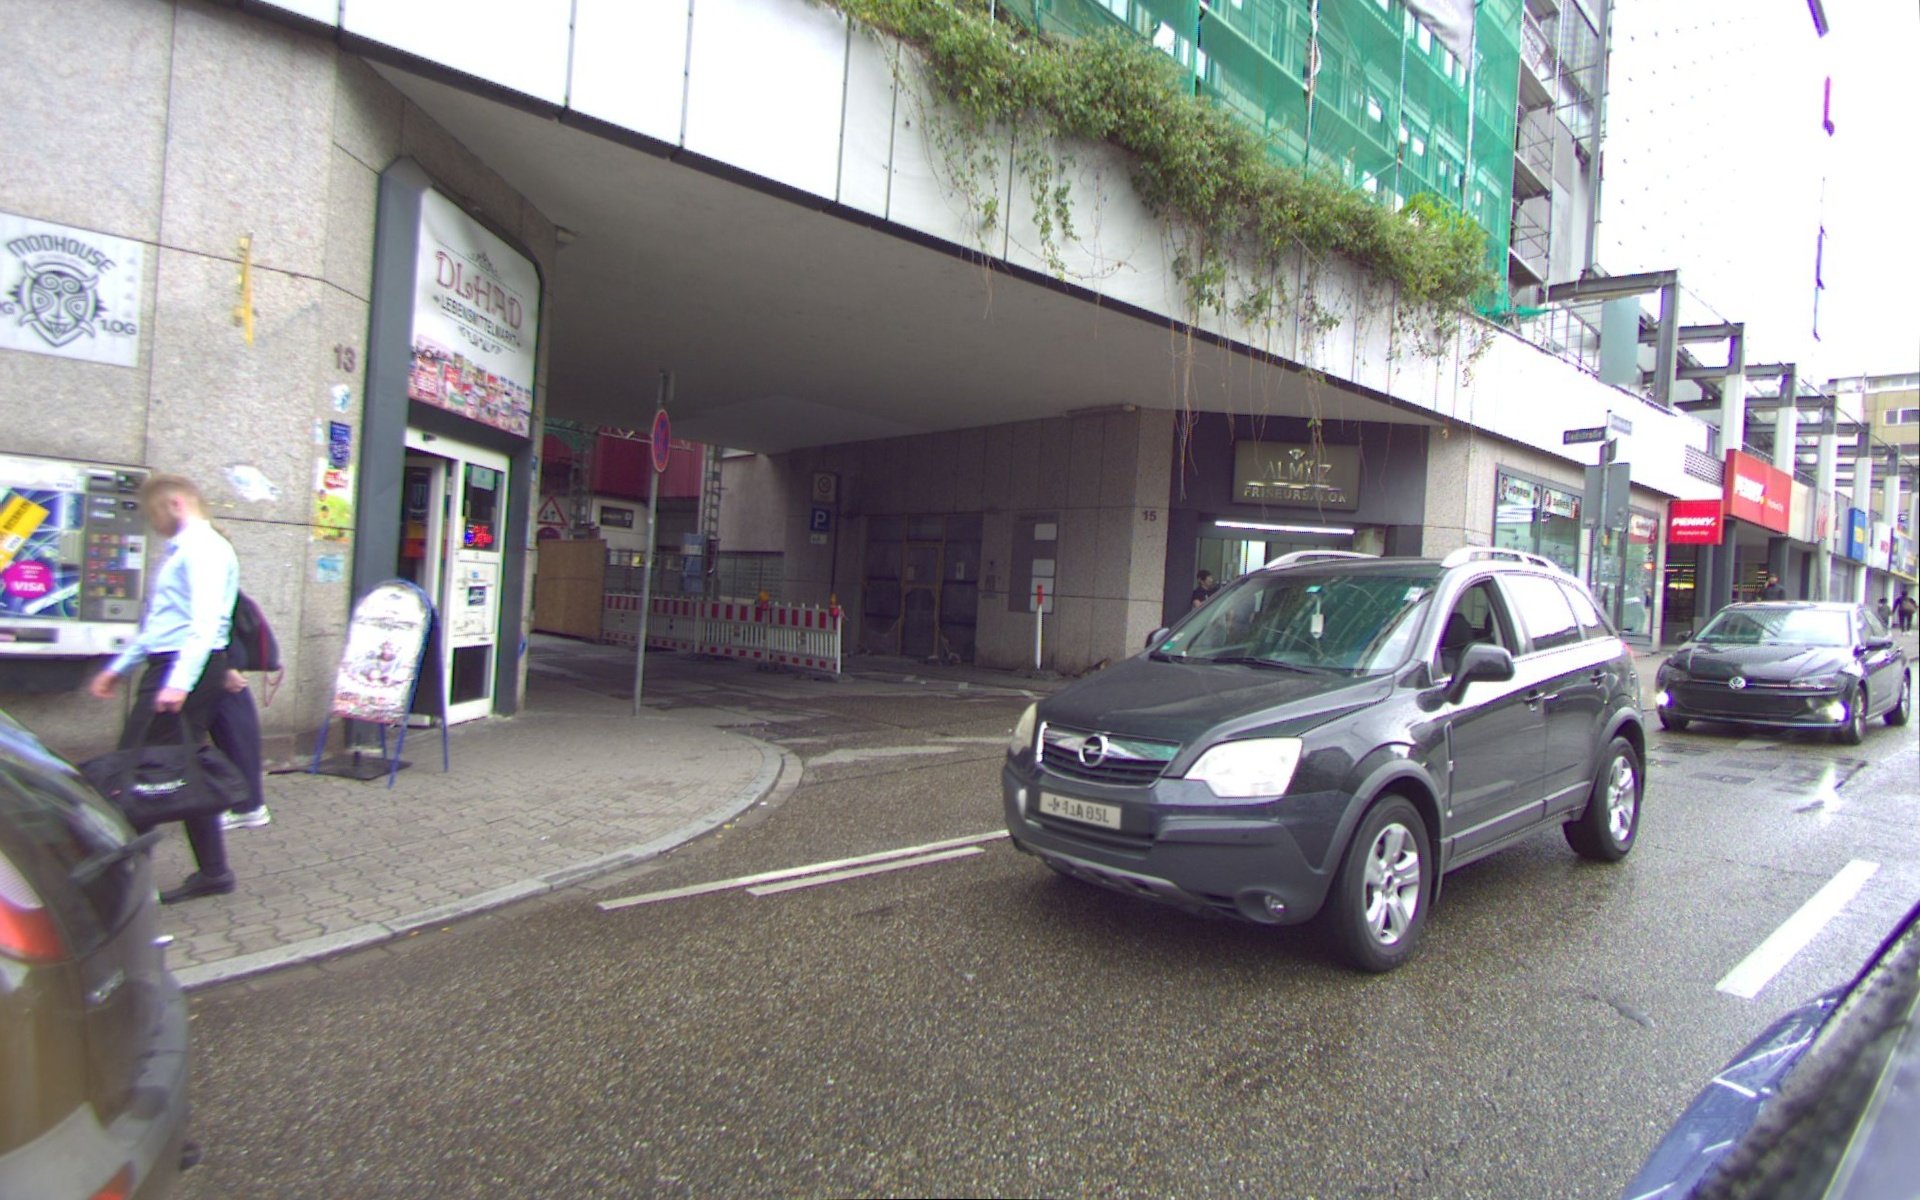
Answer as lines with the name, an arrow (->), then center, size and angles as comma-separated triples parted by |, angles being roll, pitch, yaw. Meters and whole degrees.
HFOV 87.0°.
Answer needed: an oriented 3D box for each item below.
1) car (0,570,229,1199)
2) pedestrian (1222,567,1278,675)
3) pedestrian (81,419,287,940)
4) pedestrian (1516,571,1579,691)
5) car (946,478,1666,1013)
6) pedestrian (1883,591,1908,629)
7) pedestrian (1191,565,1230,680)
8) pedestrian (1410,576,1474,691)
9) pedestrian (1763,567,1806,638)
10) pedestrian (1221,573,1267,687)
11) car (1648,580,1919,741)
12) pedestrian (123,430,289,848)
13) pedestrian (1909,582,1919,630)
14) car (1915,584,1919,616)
car -> -2.926, 0.658, 0.924 | 3.557, 1.447, 1.610 | 1, 0, -40
pedestrian -> 5.108, 0.345, 17.872 | 0.730, 1.838, 0.773 | 2, 2, 3
pedestrian -> -3.289, 0.292, 4.289 | 0.629, 1.959, 0.737 | -1, 1, -41
pedestrian -> 8.375, 0.418, 14.428 | 0.578, 1.647, 0.666 | 3, 3, 44
car -> 2.070, 0.504, 5.386 | 4.089, 1.788, 1.763 | 1, 0, -40
pedestrian -> 30.123, 0.303, 32.575 | 0.570, 1.181, 0.509 | -1, 3, -42
pedestrian -> 3.828, 0.329, 15.469 | 0.474, 1.729, 0.467 | 0, 0, 1
pedestrian -> 7.188, 0.472, 15.089 | 0.721, 1.663, 0.637 | -1, 1, -44
pedestrian -> 20.281, 0.058, 24.894 | 0.499, 1.699, 0.581 | 0, 2, -20
pedestrian -> 4.122, 0.416, 14.695 | 0.630, 1.615, 0.574 | 0, 0, 17
car -> 9.559, 0.591, 11.552 | 4.089, 1.523, 1.758 | 1, 0, -40
pedestrian -> -3.872, 0.154, 5.199 | 0.629, 1.957, 0.738 | -1, 5, -41
pedestrian -> 30.433, 0.186, 32.010 | 0.570, 1.519, 0.509 | -1, 3, -42
car -> 65.088, 0.090, 65.553 | 1.967, 2.038, 4.578 | -1, 3, -44
